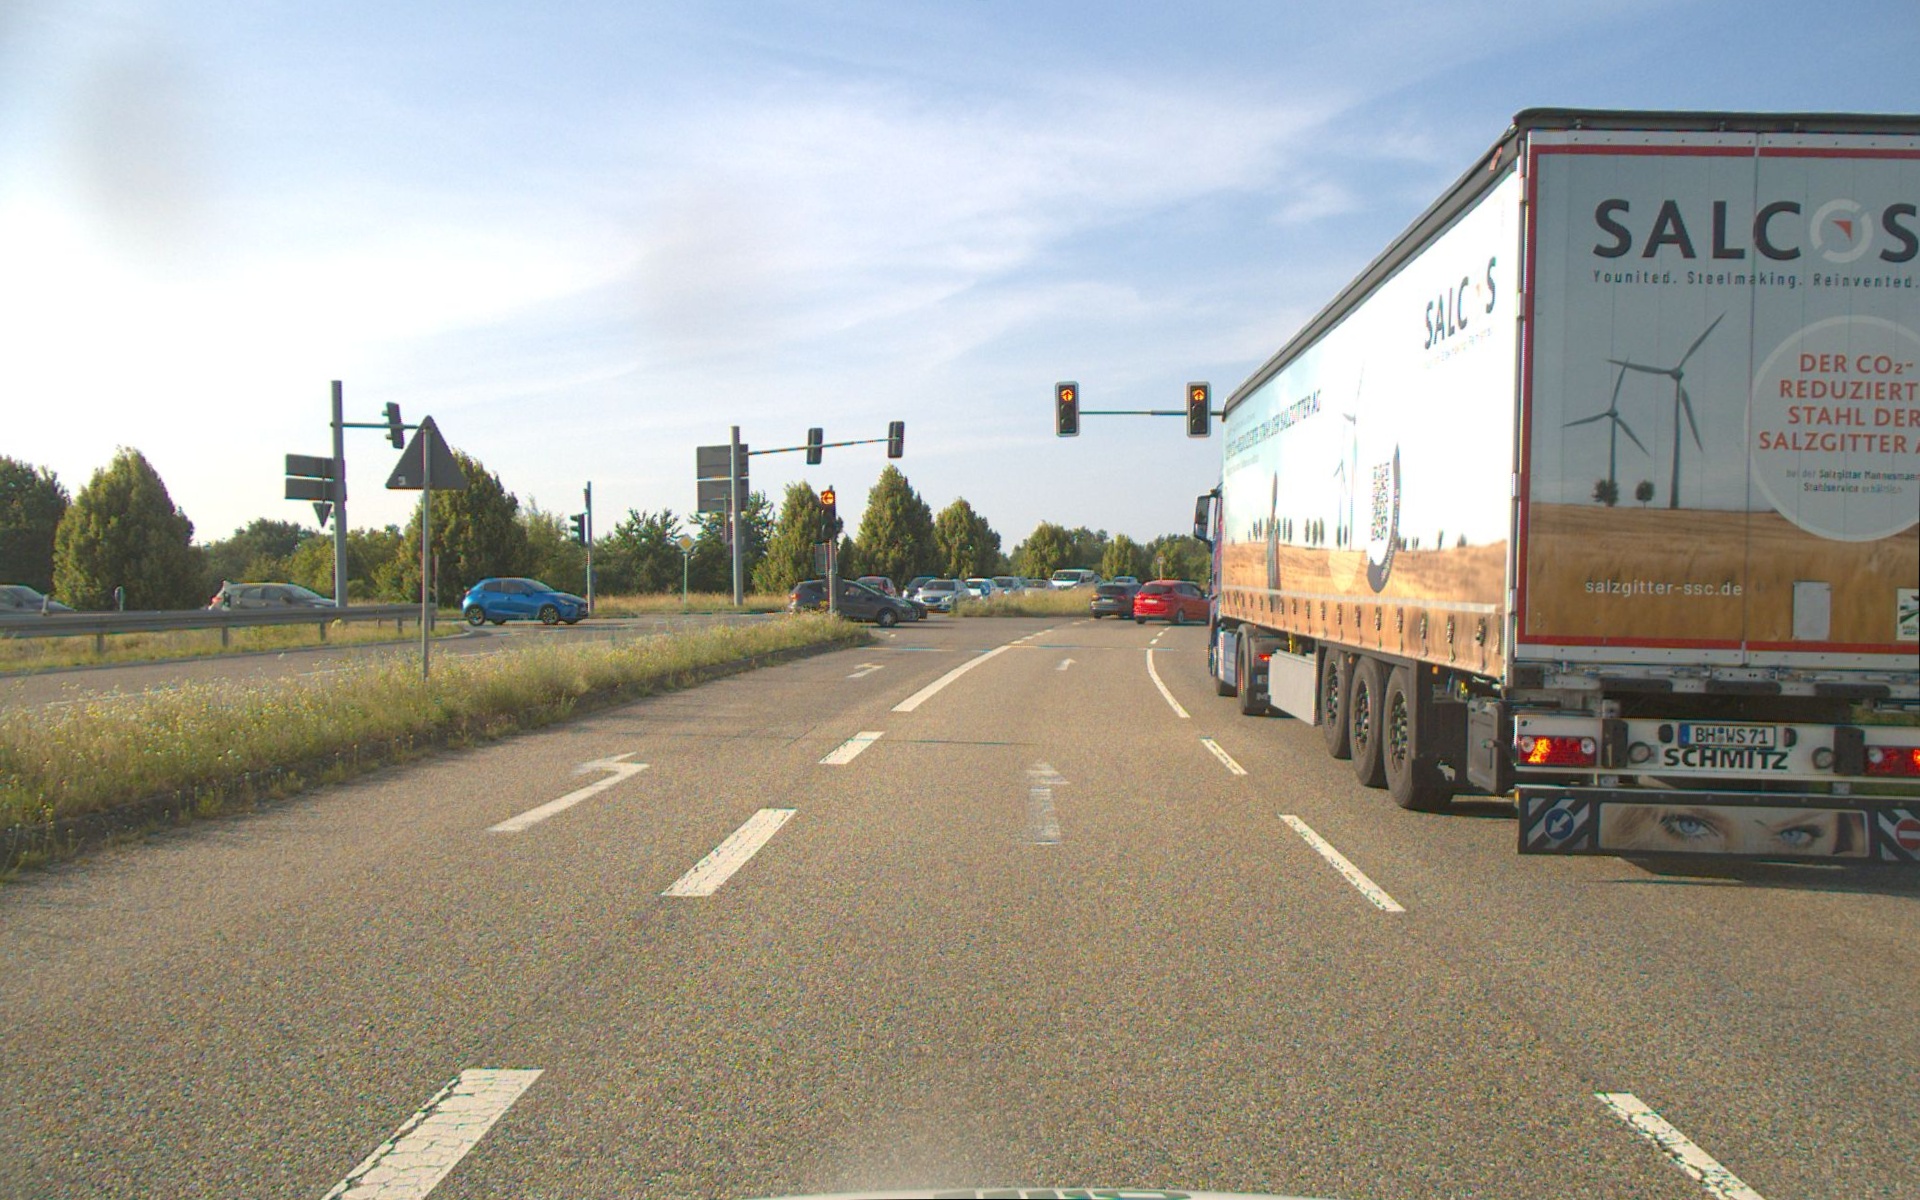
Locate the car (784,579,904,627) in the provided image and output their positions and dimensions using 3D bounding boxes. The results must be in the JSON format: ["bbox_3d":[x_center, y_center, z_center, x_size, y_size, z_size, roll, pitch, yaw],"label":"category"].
[{"bbox_3d":[-3.688,0.117,52.522,3.710,1.440,1.919,1,-1,-6],"label":"car"}]

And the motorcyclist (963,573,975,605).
[{"bbox_3d":[0.497,-0.628,95.755,0.648,1.848,0.605,0,0,5],"label":"motorcyclist"}]

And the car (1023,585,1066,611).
[{"bbox_3d":[4.757,-0.108,92.656,1.748,1.410,4.055,0,0,12],"label":"car"}]

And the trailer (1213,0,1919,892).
[{"bbox_3d":[4.573,-0.953,14.998,3.212,4.763,13.153,1,0,3],"label":"trailer"}]

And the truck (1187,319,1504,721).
[{"bbox_3d":[4.968,-0.970,22.524,3.231,4.739,5.735,1,0,3],"label":"truck"}]

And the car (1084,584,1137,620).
[{"bbox_3d":[6.175,0.096,67.502,1.797,1.401,4.281,1,-1,10],"label":"car"}]

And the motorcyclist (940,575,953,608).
[{"bbox_3d":[-0.720,-0.450,88.493,0.648,1.778,0.605,0,0,5],"label":"motorcyclist"}]

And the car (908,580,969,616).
[{"bbox_3d":[-0.906,-0.093,72.910,1.748,1.514,4.655,0,0,12],"label":"car"}]

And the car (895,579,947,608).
[{"bbox_3d":[-1.963,-0.336,84.216,1.748,1.458,4.055,0,0,12],"label":"car"}]

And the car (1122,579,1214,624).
[{"bbox_3d":[7.761,0.071,61.343,1.860,1.592,4.268,0,-1,31],"label":"car"}]

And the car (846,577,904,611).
[{"bbox_3d":[-3.891,-0.274,76.413,1.684,1.514,3.808,0,0,13],"label":"car"}]

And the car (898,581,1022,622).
[{"bbox_3d":[-0.014,0.065,58.596,4.183,1.346,1.912,1,-1,-7],"label":"car"}]

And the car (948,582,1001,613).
[{"bbox_3d":[0.730,-0.119,80.773,1.748,1.458,4.313,0,0,12],"label":"car"}]

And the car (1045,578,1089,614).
[{"bbox_3d":[6.593,-0.257,101.848,1.884,2.114,4.246,0,0,15],"label":"car"}]

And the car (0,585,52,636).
[{"bbox_3d":[-32.308,0.329,54.253,4.093,1.633,1.791,1,-1,6],"label":"car"}]

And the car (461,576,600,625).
[{"bbox_3d":[-13.612,0.000,52.512,3.887,1.518,1.780,0,0,9],"label":"car"}]
